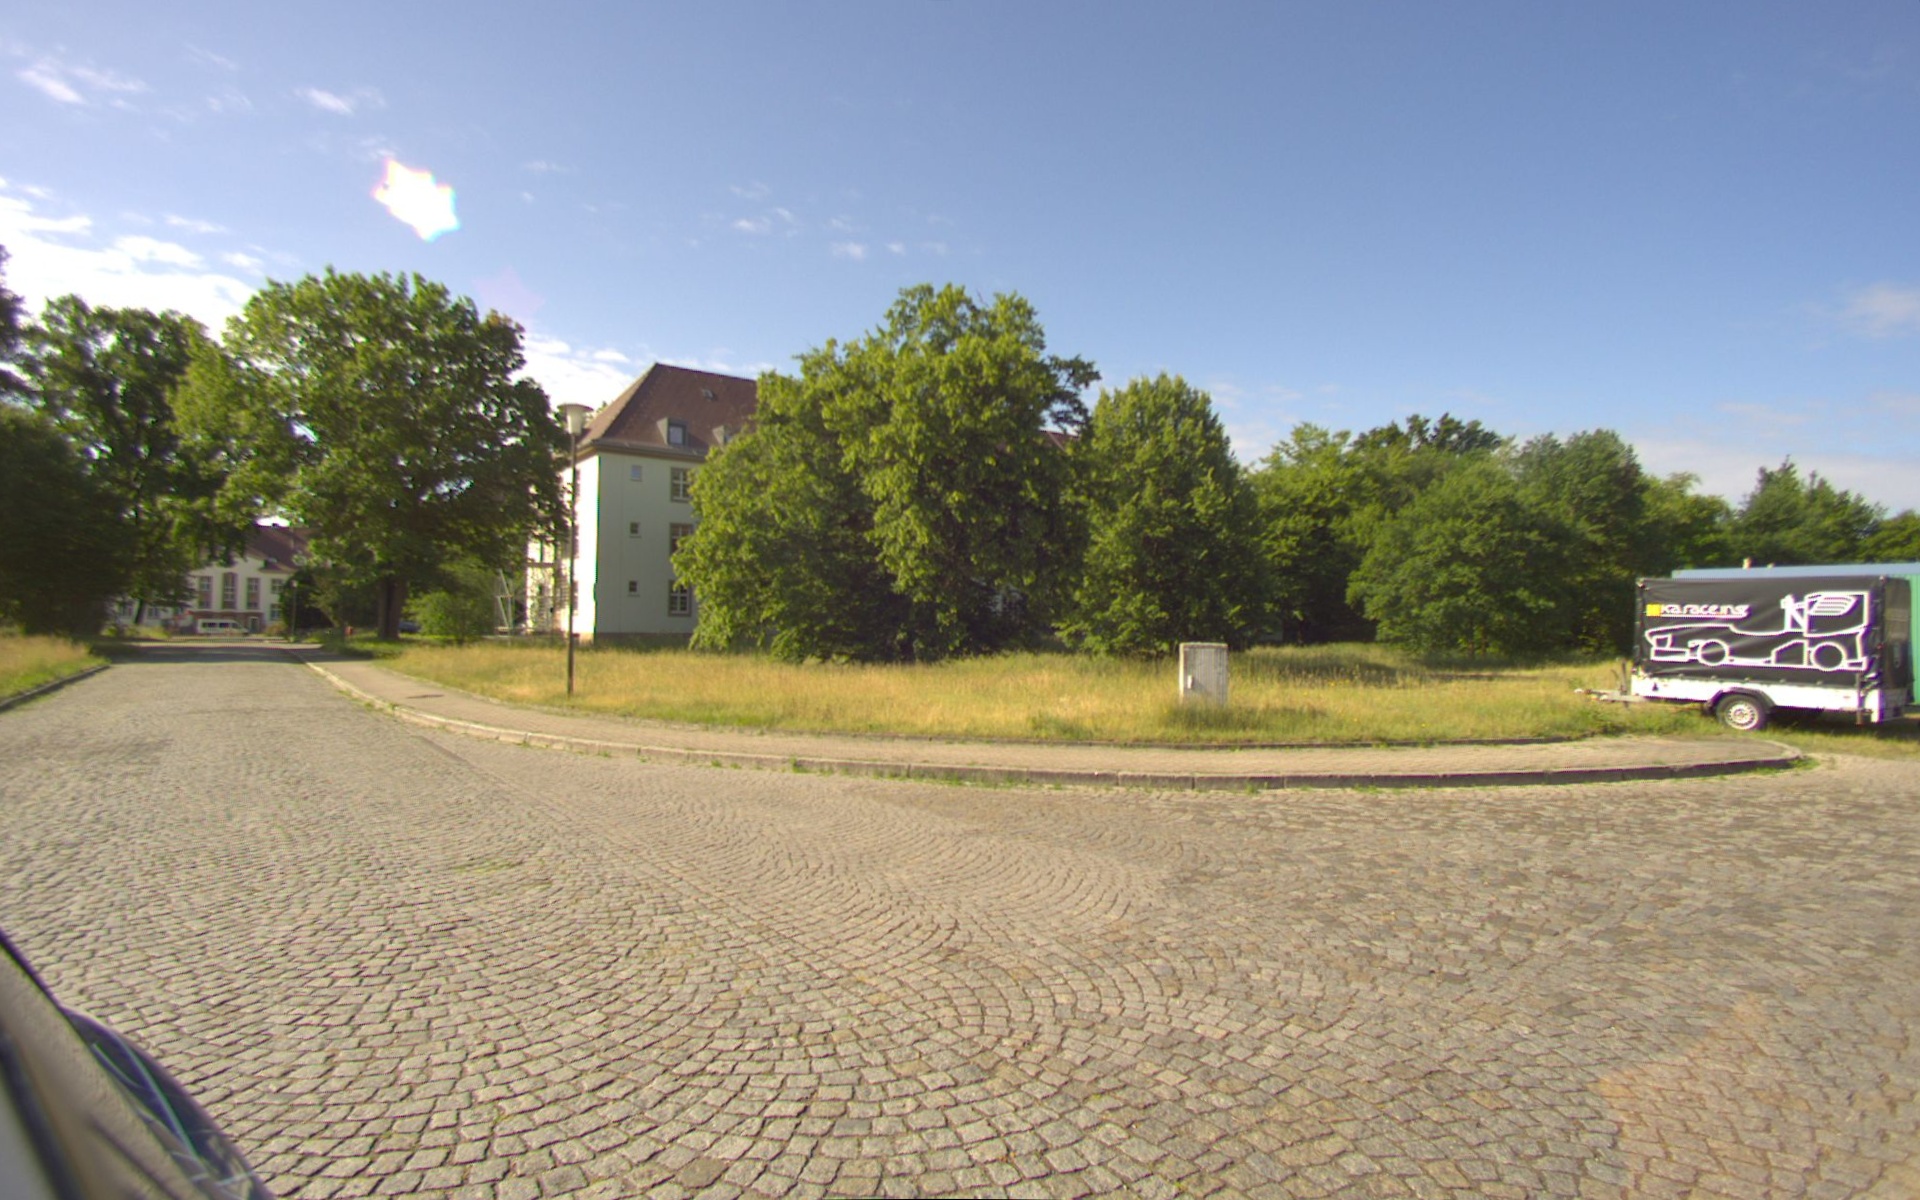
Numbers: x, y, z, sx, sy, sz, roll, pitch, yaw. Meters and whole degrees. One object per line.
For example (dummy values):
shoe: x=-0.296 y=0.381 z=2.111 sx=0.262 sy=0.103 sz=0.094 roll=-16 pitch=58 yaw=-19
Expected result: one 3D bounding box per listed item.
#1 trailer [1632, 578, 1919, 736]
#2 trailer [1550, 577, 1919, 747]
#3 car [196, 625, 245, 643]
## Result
trailer: x=14.431 y=0.903 z=17.051 sx=1.913 sy=2.409 sz=4.862 roll=3 pitch=-2 yaw=-41
trailer: x=12.169 y=0.876 z=16.005 sx=1.981 sy=2.290 sz=4.479 roll=3 pitch=-2 yaw=-36
car: x=-91.344 y=4.163 z=125.022 sx=4.794 sy=2.111 sz=2.005 roll=3 pitch=-3 yaw=-36
